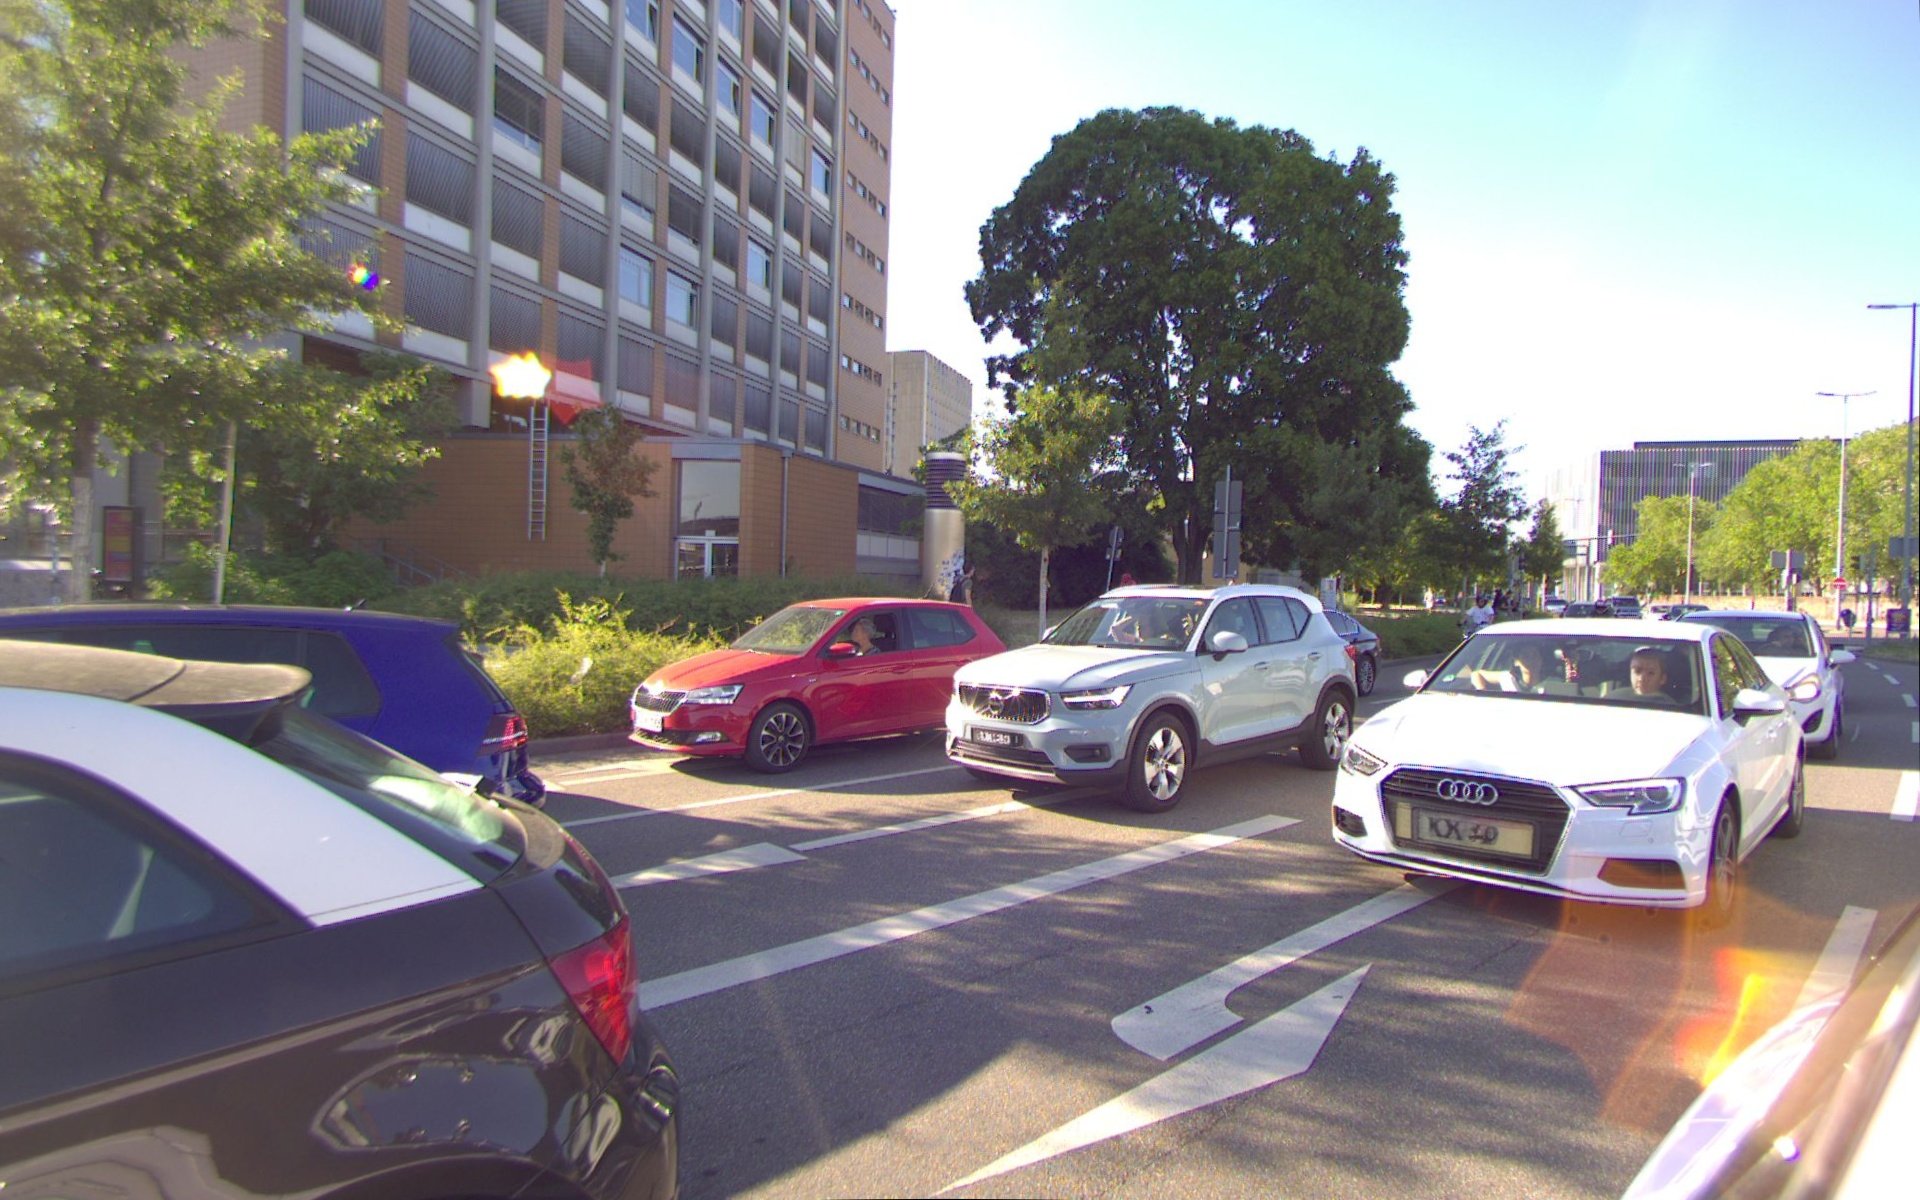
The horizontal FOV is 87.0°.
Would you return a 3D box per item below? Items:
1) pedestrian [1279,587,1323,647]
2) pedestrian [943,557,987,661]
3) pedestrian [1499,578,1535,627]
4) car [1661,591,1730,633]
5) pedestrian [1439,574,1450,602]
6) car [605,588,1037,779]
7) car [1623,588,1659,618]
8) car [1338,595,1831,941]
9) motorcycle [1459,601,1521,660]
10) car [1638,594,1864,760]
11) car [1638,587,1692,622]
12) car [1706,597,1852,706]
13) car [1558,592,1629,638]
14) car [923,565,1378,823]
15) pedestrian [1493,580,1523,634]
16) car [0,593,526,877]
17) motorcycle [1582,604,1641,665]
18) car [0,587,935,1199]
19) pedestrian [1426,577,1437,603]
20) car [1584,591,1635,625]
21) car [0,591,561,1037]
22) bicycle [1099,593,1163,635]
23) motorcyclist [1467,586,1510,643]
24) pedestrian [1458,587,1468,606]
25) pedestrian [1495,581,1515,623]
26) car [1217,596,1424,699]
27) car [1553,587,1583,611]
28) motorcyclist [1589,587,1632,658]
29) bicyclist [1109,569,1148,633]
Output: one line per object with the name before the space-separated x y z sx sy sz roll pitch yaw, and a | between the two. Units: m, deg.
pedestrian | 10.172 0.495 30.194 1.005 1.742 0.873 0 0 39
pedestrian | 0.091 0.163 18.874 0.681 1.910 0.465 0 0 -24
pedestrian | 23.700 0.103 43.032 1.137 2.039 1.268 0 0 39
car | 30.070 0.446 41.483 1.731 1.564 3.960 2 1 29
pedestrian | 28.905 -0.718 60.321 0.543 1.627 0.598 0 0 30
car | -1.188 0.632 9.849 3.974 1.478 1.625 -1 0 -43
car | 44.658 0.164 66.296 1.867 1.838 3.950 2 1 35
car | 3.949 0.692 6.124 3.769 1.422 1.625 -1 0 -43
motorcycle | 12.648 0.705 24.115 0.716 1.321 2.199 0 0 44
car | 8.876 0.691 11.230 1.623 1.478 3.979 0 1 43
car | 37.002 0.189 53.203 1.730 1.727 3.962 2 1 27
car | 13.114 0.712 16.126 1.622 1.478 3.981 0 0 42
car | 23.335 0.506 37.227 1.738 1.544 3.943 2 2 39
car | 1.777 0.571 8.464 4.153 1.641 1.625 -1 0 -43
pedestrian | 21.161 0.270 39.067 0.891 2.039 0.870 0 0 39
car | -5.155 0.682 6.020 4.433 1.422 1.726 -1 0 -42
motorcycle | 15.232 0.774 23.641 0.716 1.321 2.199 0 0 44
car | -2.056 0.702 1.258 3.930 1.422 1.626 -1 0 -41
pedestrian | 28.297 -0.589 60.678 0.543 1.549 0.598 0 0 30
car | 32.183 0.380 50.216 1.730 1.564 3.962 2 1 28
car | -3.745 0.687 3.737 3.930 1.422 1.626 -1 0 -41
bicycle | 4.368 0.339 25.818 0.657 0.975 2.005 2 2 41
motorcyclist | 12.539 0.332 24.005 0.716 1.321 0.724 0 0 45
pedestrian | 54.007 -0.409 108.643 0.828 2.039 1.061 0 0 19
pedestrian | 21.576 0.070 40.049 0.593 1.615 0.586 0 0 41
car | 6.097 0.680 16.867 1.750 1.478 4.123 0 1 43
car | 46.373 -0.080 77.230 1.731 1.727 3.959 2 1 29
motorcyclist | 15.131 0.501 23.534 0.709 1.610 0.679 0 0 45
bicyclist | 4.284 0.023 25.756 0.615 1.580 0.858 0 0 42
